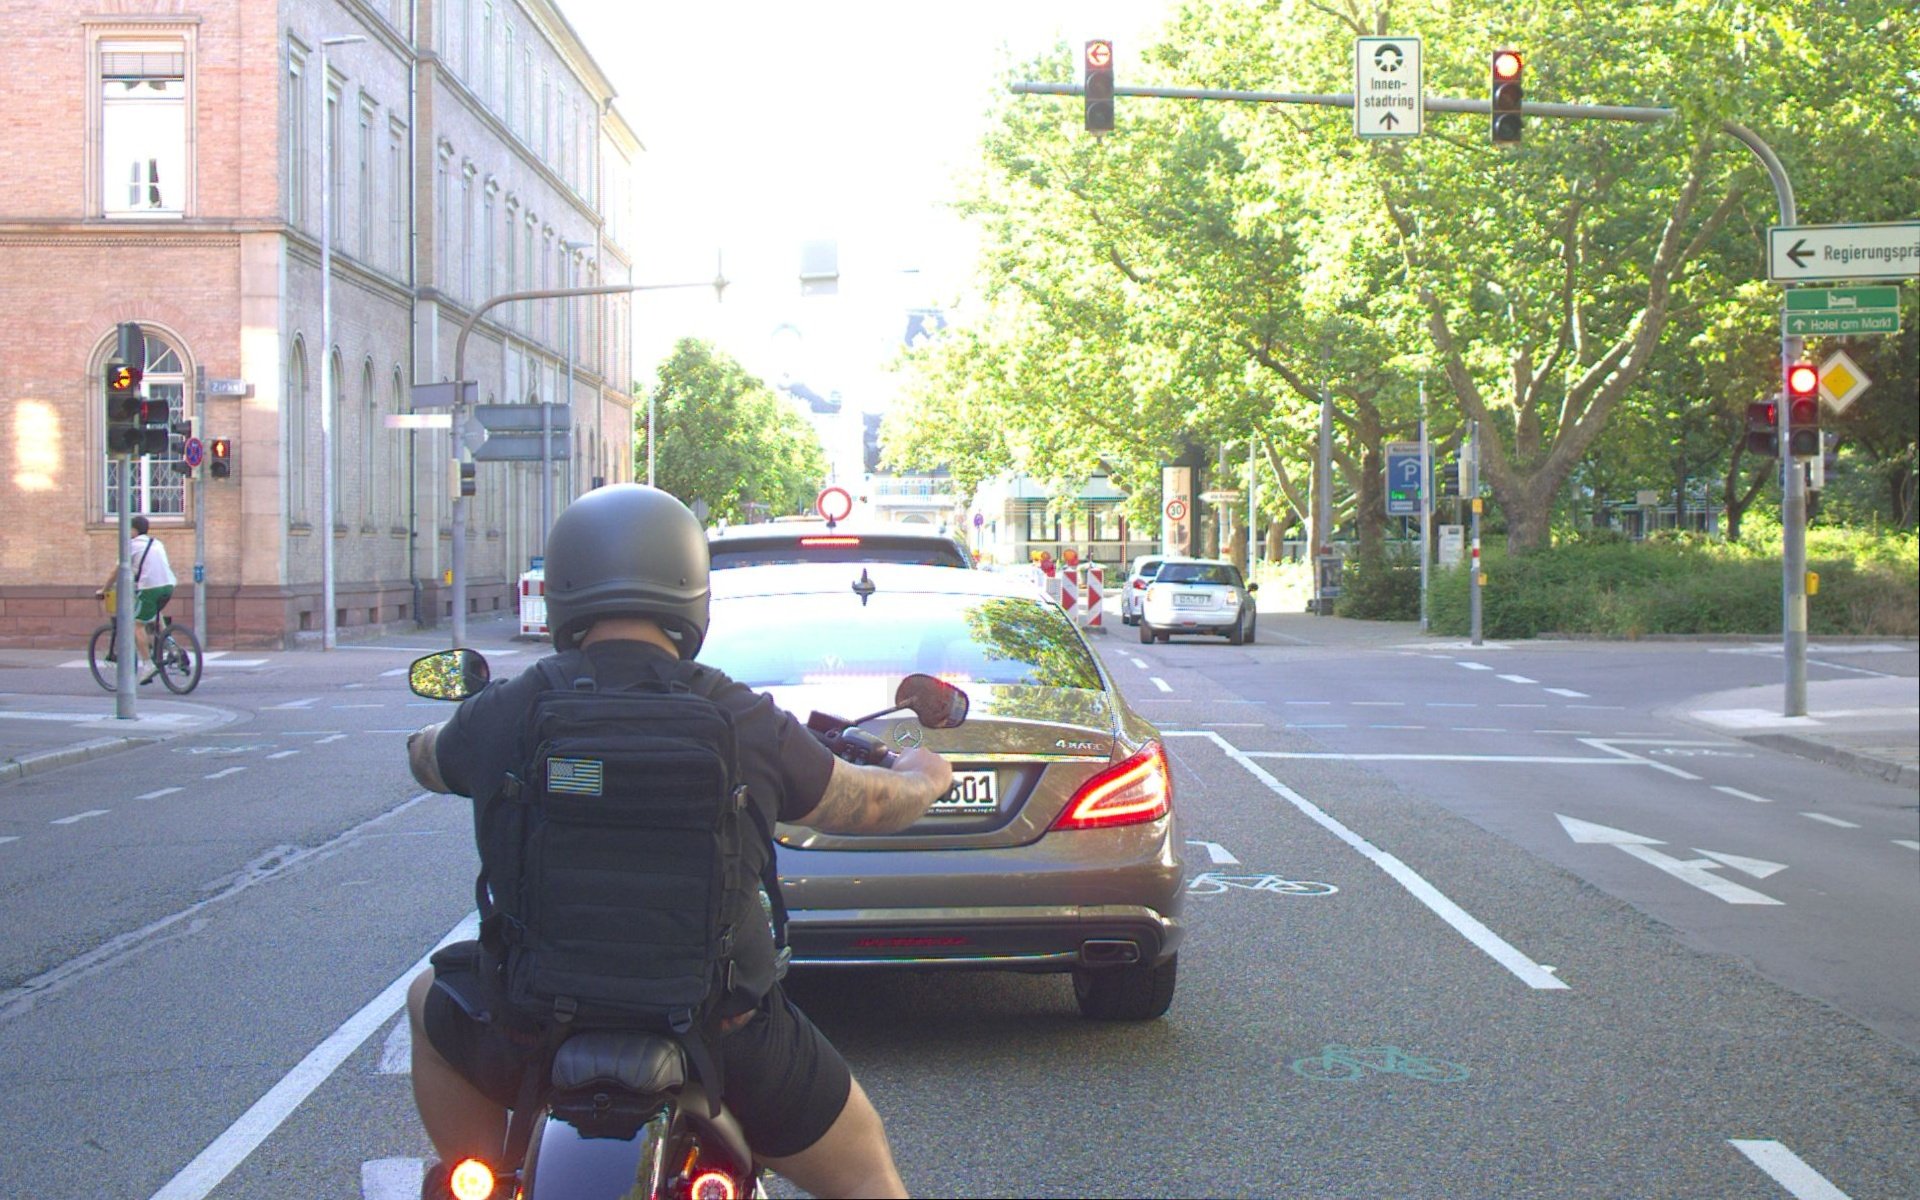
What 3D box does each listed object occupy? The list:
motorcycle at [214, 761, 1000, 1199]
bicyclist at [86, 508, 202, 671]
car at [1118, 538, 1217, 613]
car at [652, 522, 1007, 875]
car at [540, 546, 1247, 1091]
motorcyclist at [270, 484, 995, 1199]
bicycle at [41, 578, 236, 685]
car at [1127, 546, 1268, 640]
[{"bbox_3d":[-0.459,0.879,5.566,0.989,1.075,2.452,0,1,-1],"label":"motorcycle"},{"bbox_3d":[-8.553,-0.114,36.057,0.962,1.687,0.705,0,1,14],"label":"bicyclist"},{"bbox_3d":[4.246,-0.511,70.734,1.856,1.481,3.908,1,1,1],"label":"car"},{"bbox_3d":[-0.640,0.407,17.768,1.612,1.602,4.329,0,1,-1],"label":"car"},{"bbox_3d":[-0.434,0.557,11.602,1.945,1.468,4.363,0,1,-7],"label":"car"},{"bbox_3d":[-0.455,0.624,5.408,0.989,1.591,1.404,0,1,-1],"label":"motorcyclist"},{"bbox_3d":[-8.617,0.319,36.063,1.875,1.099,0.705,0,1,14],"label":"bicycle"},{"bbox_3d":[3.996,-0.141,57.353,1.822,1.475,3.906,-1,1,11],"label":"car"}]
